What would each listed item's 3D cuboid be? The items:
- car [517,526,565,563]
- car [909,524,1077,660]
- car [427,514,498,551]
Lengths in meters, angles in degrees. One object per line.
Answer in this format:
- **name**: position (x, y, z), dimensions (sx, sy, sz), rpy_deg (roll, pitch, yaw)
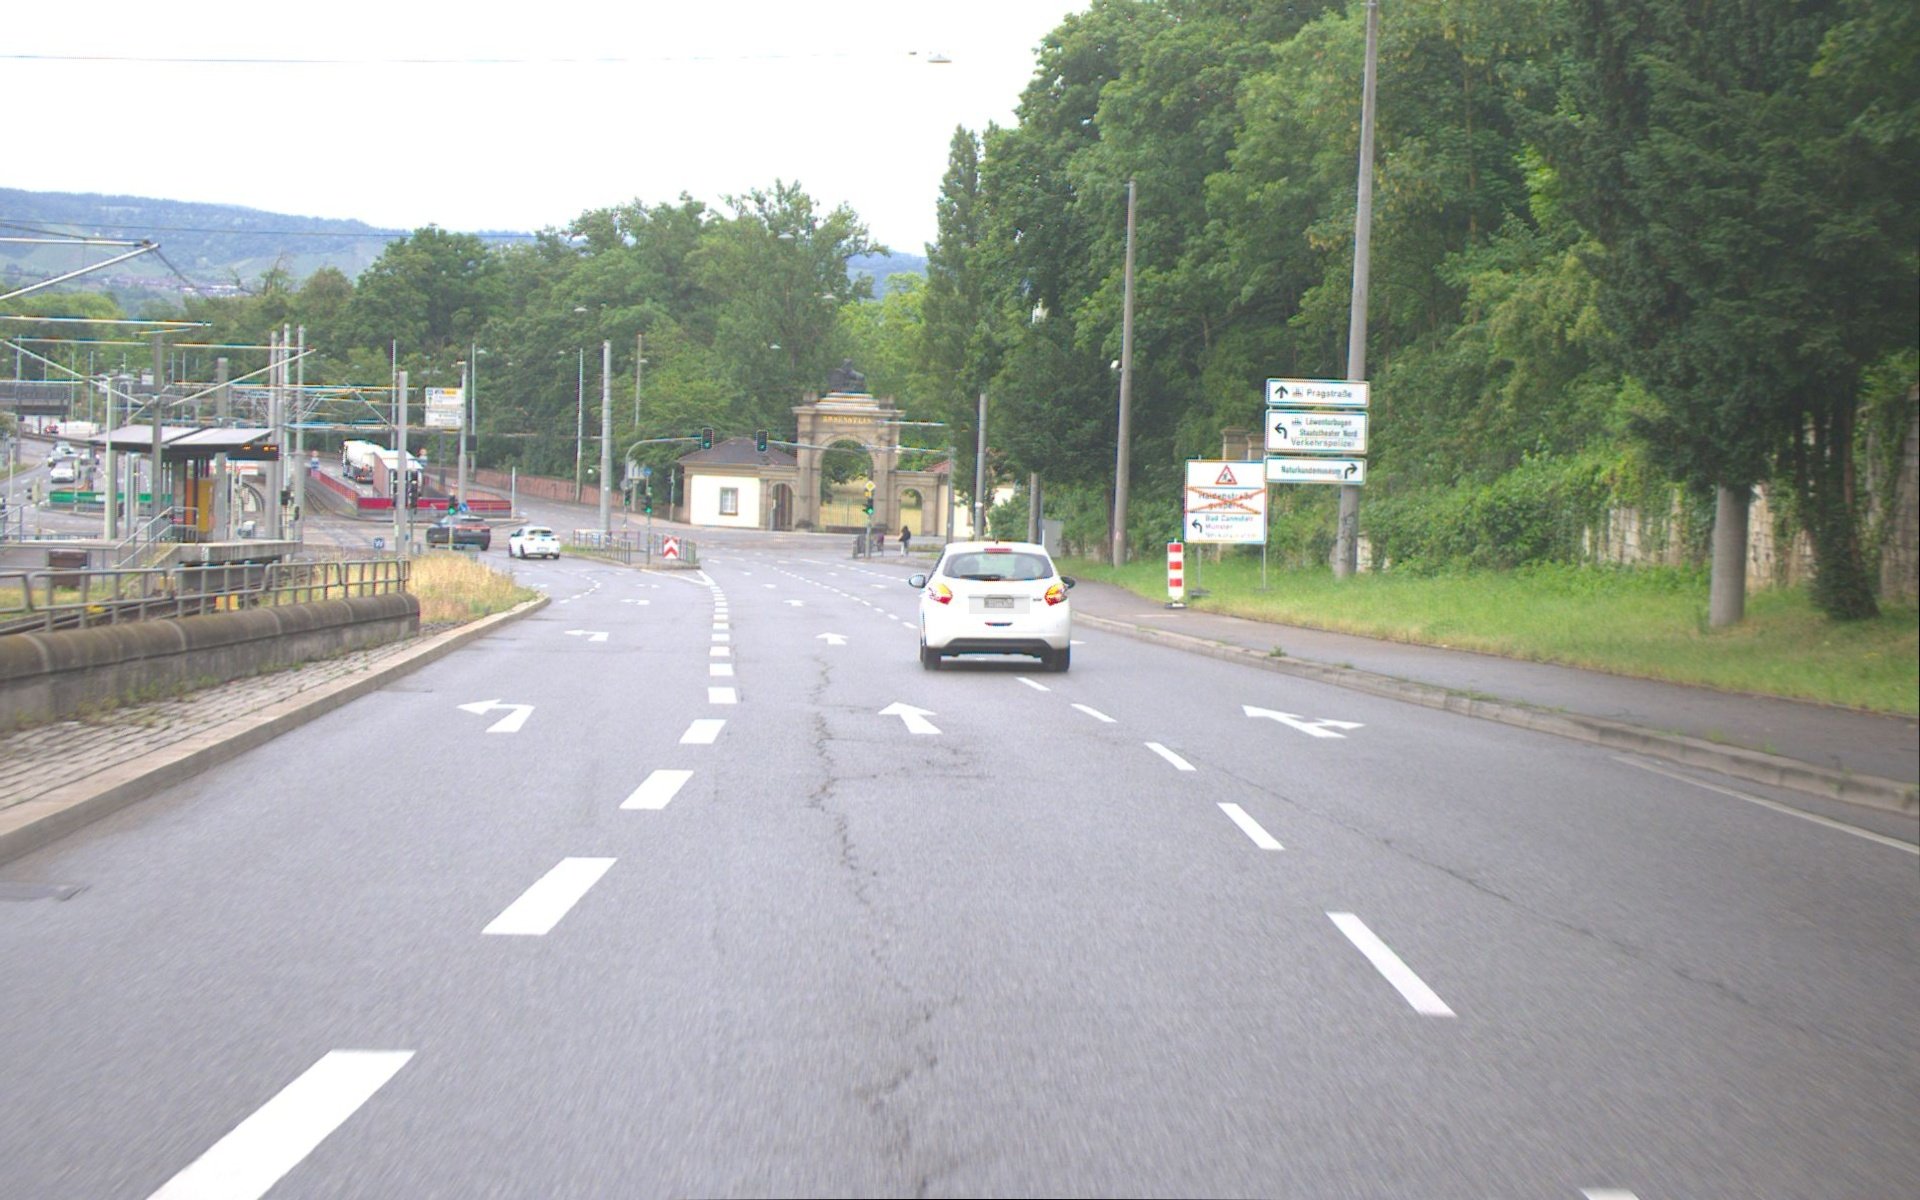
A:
- **car**: position (-18.978, -2.546, 155.767), dimensions (1.822, 1.600, 4.001), rpy_deg (-1, 2, -3)
- **car**: position (0.356, -0.122, 40.269), dimensions (1.868, 1.505, 3.900), rpy_deg (0, 1, 0)
- **car**: position (-24.117, -3.283, 166.496), dimensions (1.993, 1.700, 4.000), rpy_deg (0, 2, -31)
